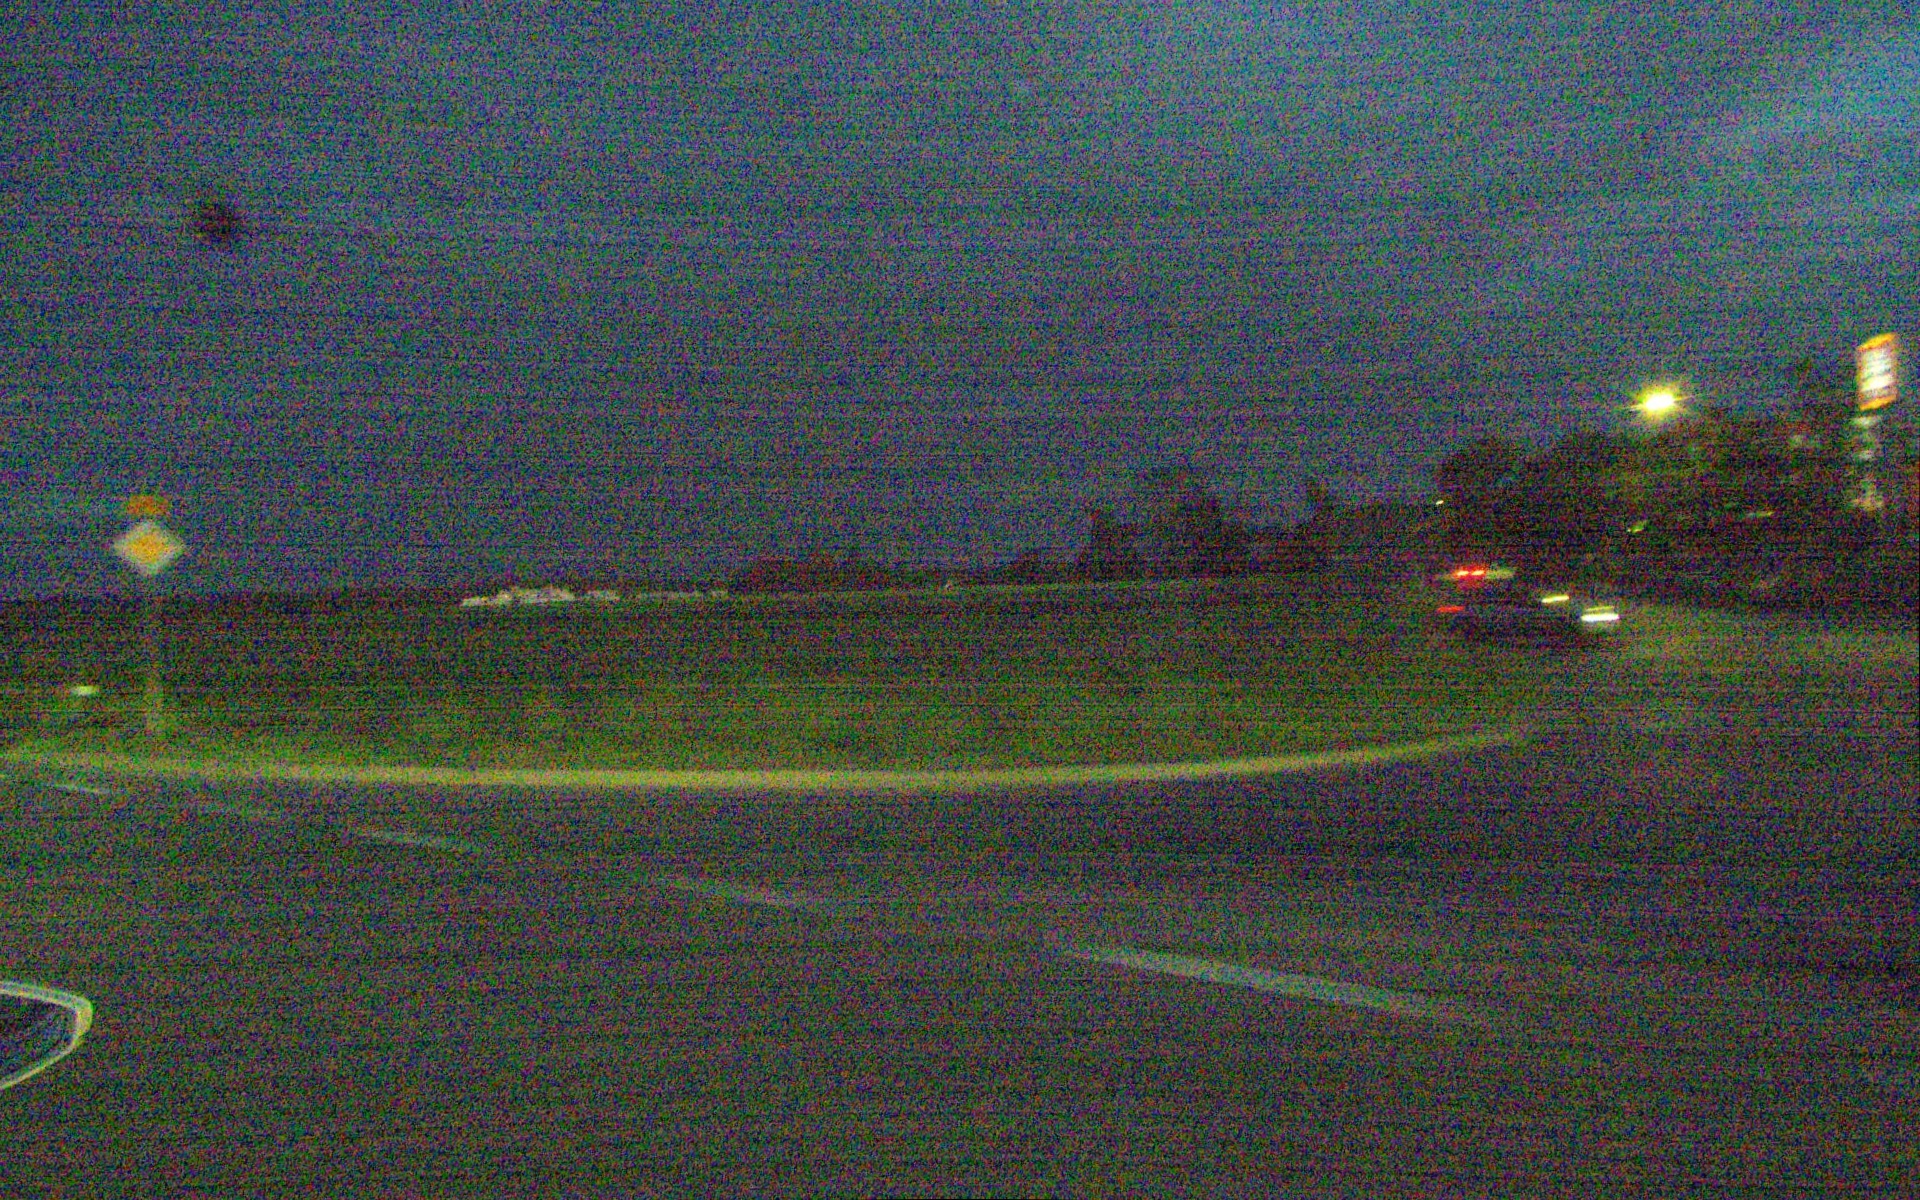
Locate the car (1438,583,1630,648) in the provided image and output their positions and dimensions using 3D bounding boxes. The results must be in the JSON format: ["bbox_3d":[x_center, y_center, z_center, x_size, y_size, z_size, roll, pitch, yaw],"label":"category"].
[{"bbox_3d":[16.432,0.424,28.826,1.979,1.686,4.435,-2,1,-43],"label":"car"}]
